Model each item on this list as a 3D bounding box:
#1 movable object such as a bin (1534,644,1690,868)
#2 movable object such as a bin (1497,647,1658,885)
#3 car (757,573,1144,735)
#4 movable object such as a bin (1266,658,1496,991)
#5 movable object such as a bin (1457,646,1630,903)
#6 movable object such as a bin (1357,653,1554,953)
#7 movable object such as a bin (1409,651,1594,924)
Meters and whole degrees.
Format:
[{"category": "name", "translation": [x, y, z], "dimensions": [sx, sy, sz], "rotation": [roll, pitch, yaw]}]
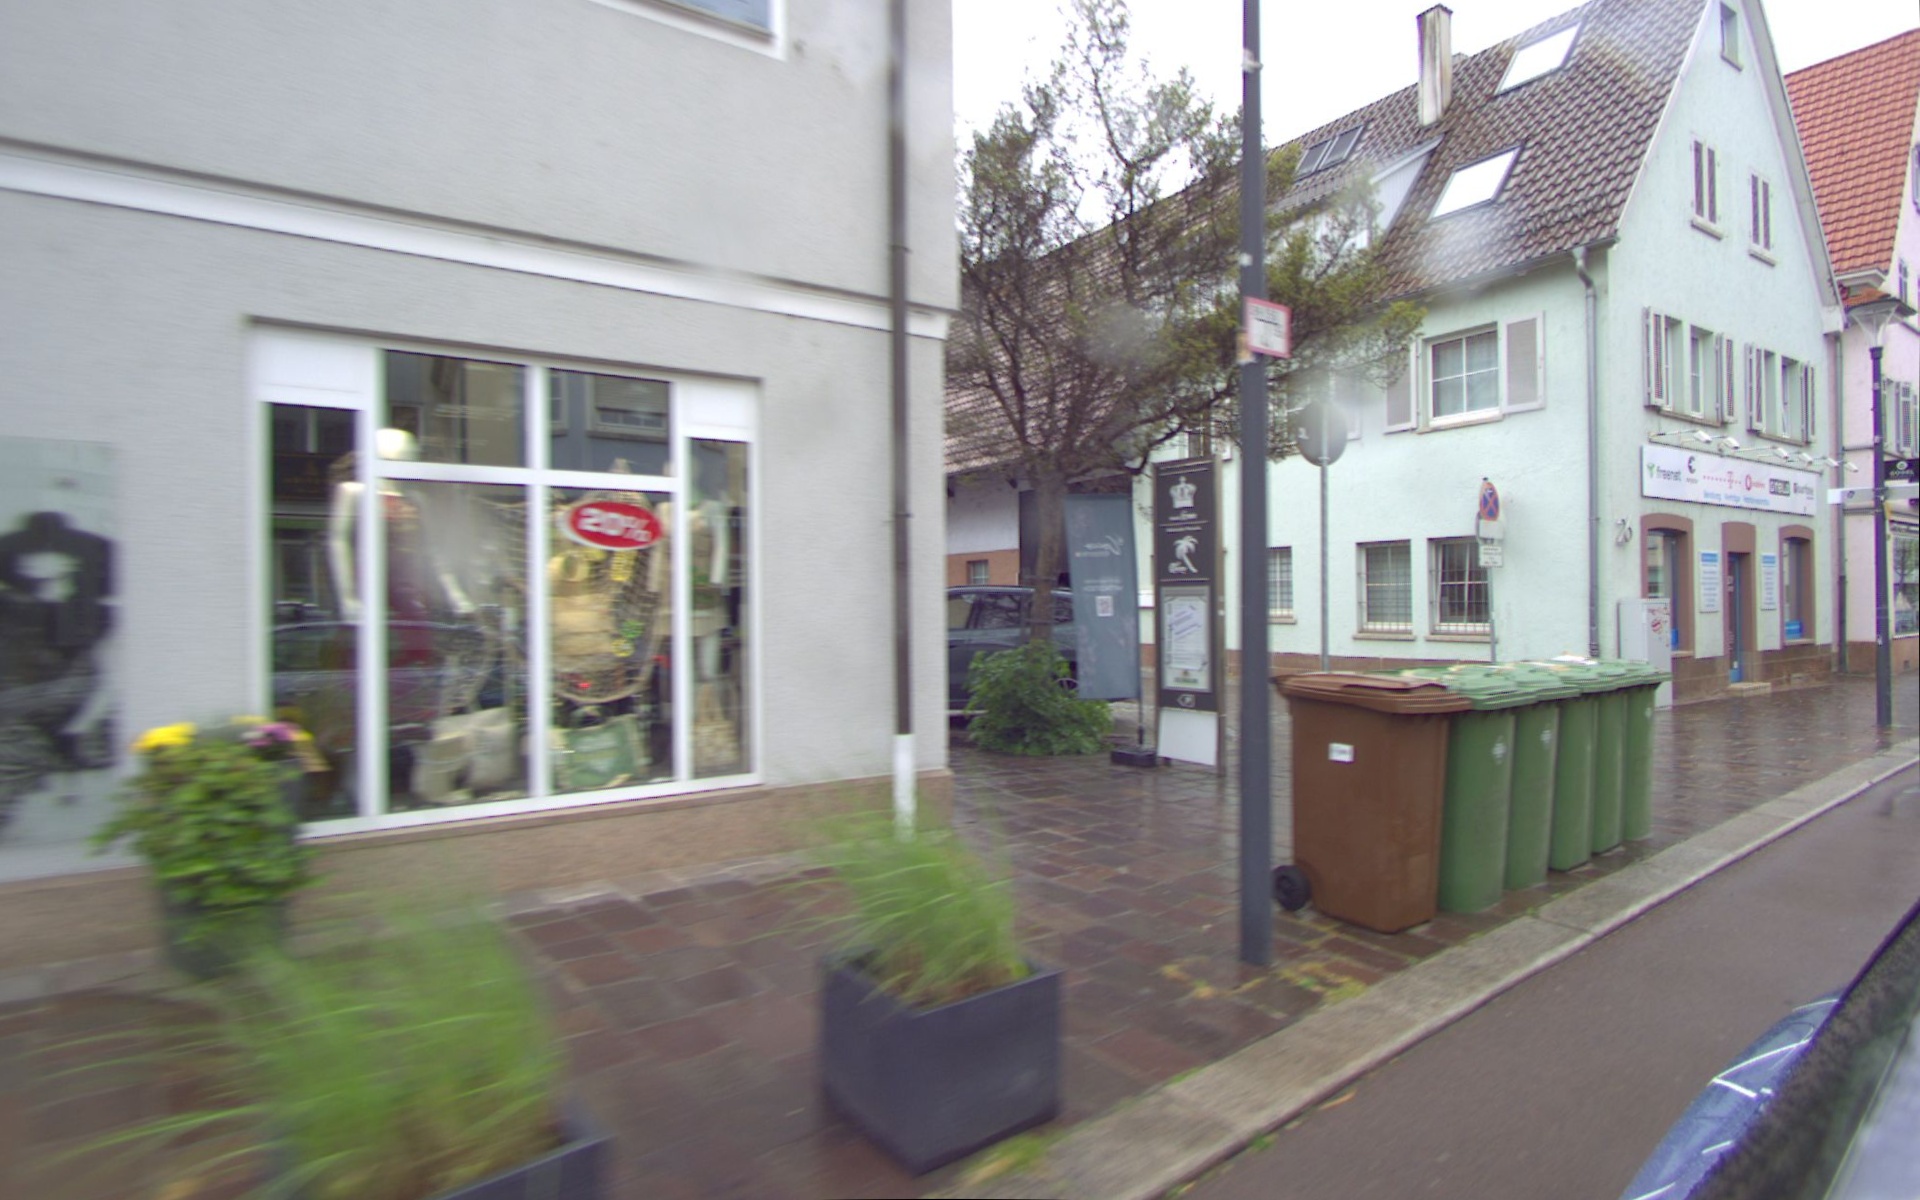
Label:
[{"category": "movable object such as a bin", "translation": [4.091, 0.932, 6.360], "dimensions": [0.610, 1.254, 0.659], "rotation": [-1, 0, -38]}, {"category": "movable object such as a bin", "translation": [3.648, 0.931, 5.991], "dimensions": [0.533, 1.261, 0.659], "rotation": [-1, 0, -38]}, {"category": "car", "translation": [-0.095, 0.586, 12.217], "dimensions": [4.280, 1.676, 1.823], "rotation": [2, 1, 3]}, {"category": "movable object such as a bin", "translation": [1.875, 0.920, 4.515], "dimensions": [0.718, 1.256, 0.679], "rotation": [-1, 0, -38]}, {"category": "movable object such as a bin", "translation": [3.239, 0.915, 5.630], "dimensions": [0.533, 1.272, 0.679], "rotation": [-1, 0, -38]}, {"category": "movable object such as a bin", "translation": [2.390, 0.916, 4.899], "dimensions": [0.554, 1.266, 0.679], "rotation": [-1, 0, -38]}, {"category": "movable object such as a bin", "translation": [2.814, 0.916, 5.273], "dimensions": [0.554, 1.248, 0.679], "rotation": [-1, 0, -38]}]
